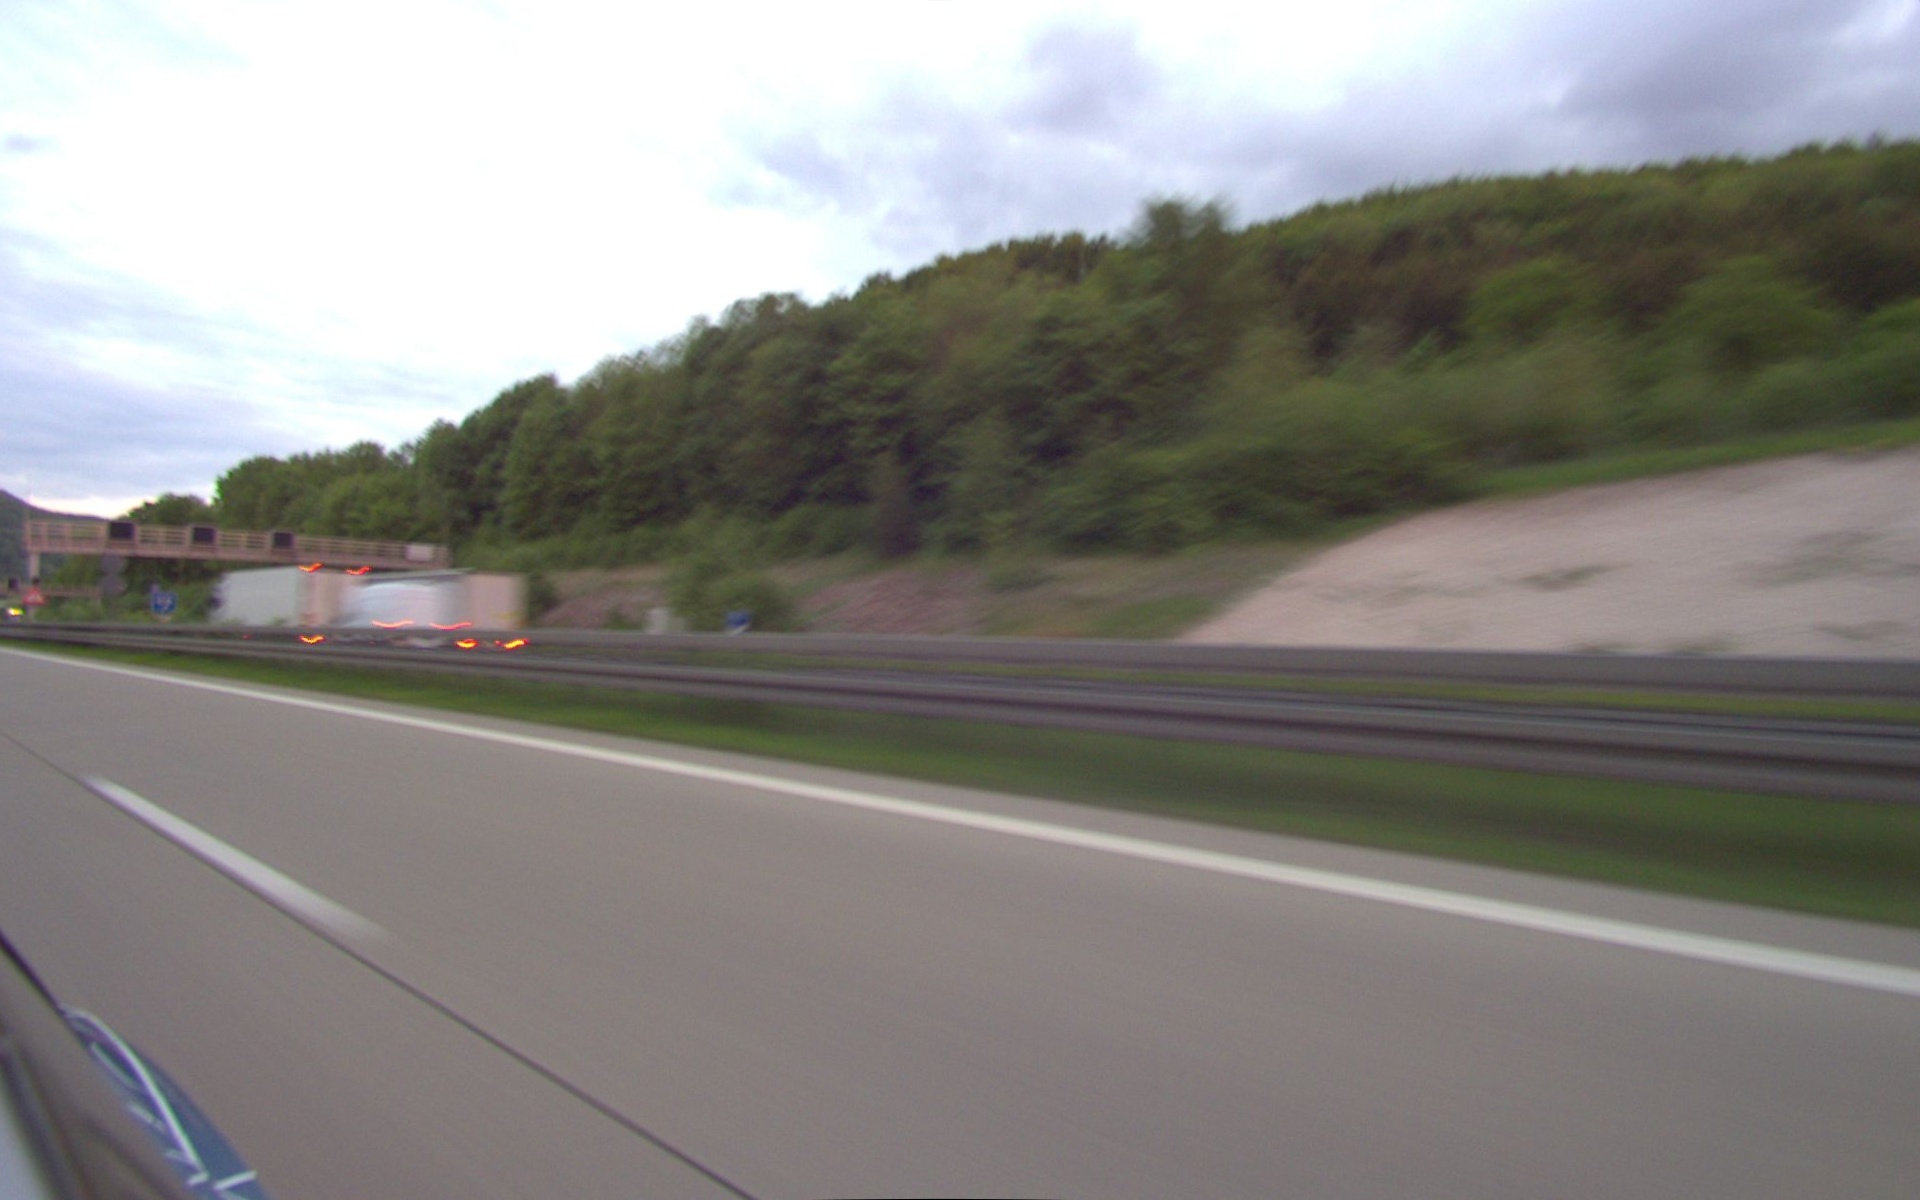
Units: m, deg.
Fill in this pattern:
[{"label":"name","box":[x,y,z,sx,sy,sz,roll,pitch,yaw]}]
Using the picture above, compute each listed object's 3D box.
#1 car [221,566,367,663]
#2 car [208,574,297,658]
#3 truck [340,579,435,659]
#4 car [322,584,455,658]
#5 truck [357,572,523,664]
[{"label":"car","box":[-35.288,0.797,53.223,13.904,4.521,2.769,-1,-1,41]},{"label":"car","box":[-40.184,0.917,57.441,5.926,4.521,2.769,-1,-1,41]},{"label":"truck","box":[-31.982,1.065,56.464,5.862,4.242,2.826,-1,-2,42]},{"label":"car","box":[-19.598,0.718,34.532,6.336,2.304,1.973,-1,-2,41]},{"label":"truck","box":[-26.972,0.942,51.984,13.596,4.242,2.865,-1,-2,42]}]
